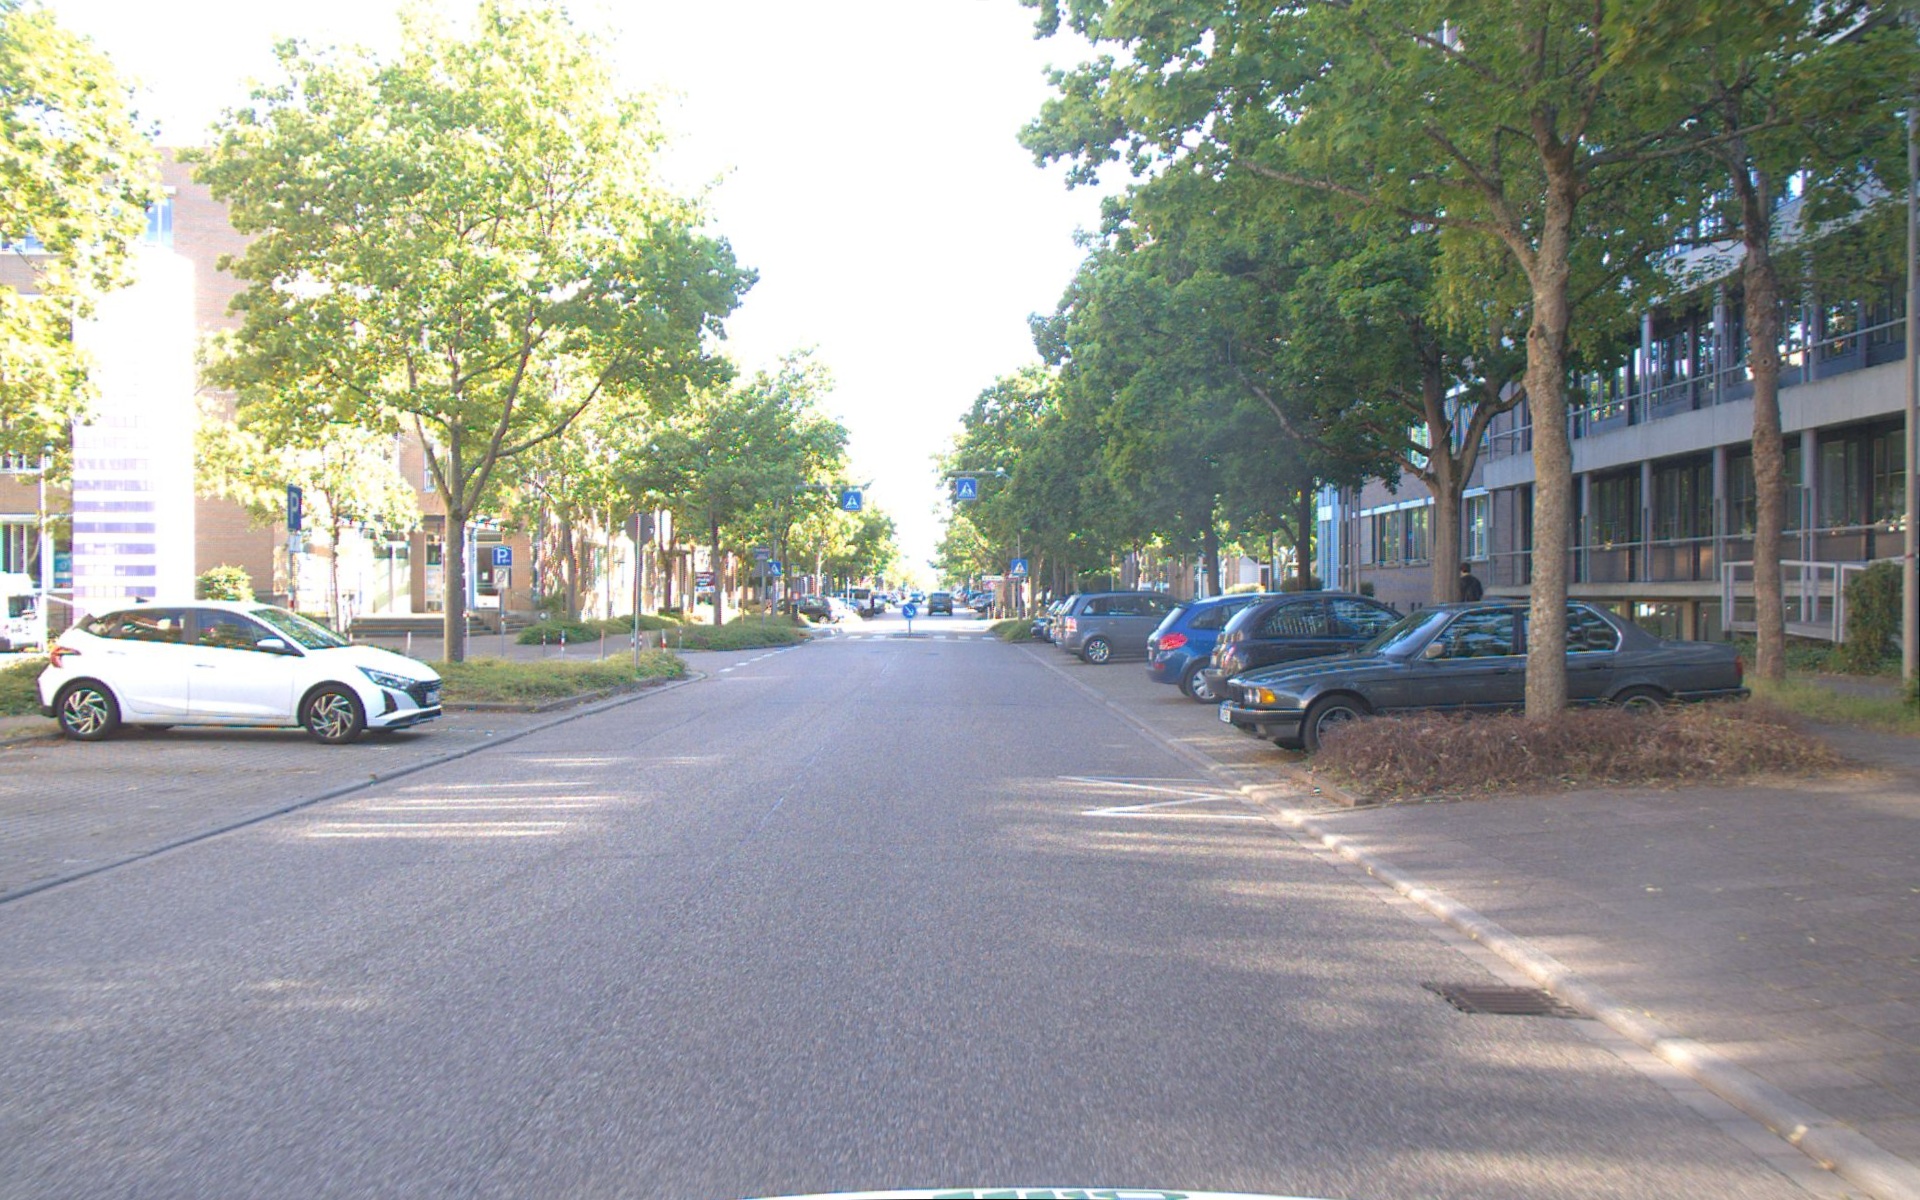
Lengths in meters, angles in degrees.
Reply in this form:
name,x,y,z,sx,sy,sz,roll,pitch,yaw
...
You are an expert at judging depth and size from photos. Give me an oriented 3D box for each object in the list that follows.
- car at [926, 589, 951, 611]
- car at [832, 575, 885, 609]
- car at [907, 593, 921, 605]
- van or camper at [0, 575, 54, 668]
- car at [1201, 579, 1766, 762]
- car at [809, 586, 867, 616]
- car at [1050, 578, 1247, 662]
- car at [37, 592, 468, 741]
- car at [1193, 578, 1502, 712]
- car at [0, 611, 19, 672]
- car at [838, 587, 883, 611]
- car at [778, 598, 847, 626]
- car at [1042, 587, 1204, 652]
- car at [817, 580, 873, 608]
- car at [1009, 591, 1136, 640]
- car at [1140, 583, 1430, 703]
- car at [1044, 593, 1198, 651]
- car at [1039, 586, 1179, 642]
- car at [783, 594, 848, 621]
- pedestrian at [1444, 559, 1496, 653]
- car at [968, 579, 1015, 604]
name,x,y,z,sx,sy,sz,roll,pitch,yaw
car,-1.740,-0.001,133.348,1.953,1.668,3.999,1,0,-1
car,-7.850,-0.618,128.232,3.903,2.586,1.863,1,0,4
car,-6.053,-0.103,219.015,1.776,1.551,4.000,-1,0,0
van or camper,-30.620,0.674,49.924,5.260,2.721,2.180,-1,1,-2
car,4.859,0.625,15.836,4.728,1.444,2.031,-2,0,-3
car,-8.843,0.078,119.844,3.903,2.049,2.001,-1,0,3
car,4.339,0.456,38.432,4.265,1.733,1.811,-2,0,-4
car,-7.581,0.690,18.018,3.906,1.512,1.806,0,0,-2
car,4.997,0.558,21.677,3.567,1.541,1.812,-2,0,-1
car,-26.083,1.082,41.194,4.106,1.503,1.999,-2,-3,-1
car,-8.860,-0.078,147.528,3.907,2.049,1.999,-1,0,-3
car,-8.296,0.674,92.778,3.775,1.499,1.810,1,0,-7
car,4.381,0.526,44.837,4.108,1.563,1.811,-2,0,-4
car,-8.544,-0.437,123.126,3.903,2.049,2.001,-1,0,3
car,3.843,0.516,56.763,4.108,1.498,1.811,-2,0,-4
car,4.686,0.608,24.268,3.868,1.541,1.813,-2,0,0
car,4.574,0.618,47.341,4.108,1.474,1.811,-2,0,-4
car,4.654,0.436,51.943,4.108,1.563,1.811,-2,0,-4
car,-8.535,0.463,97.632,3.775,1.499,1.810,1,0,-7
pedestrian,9.937,0.111,32.239,0.595,1.776,1.191,-1,0,-1
car,2.720,-0.730,142.359,3.907,2.049,1.999,-1,0,-3
